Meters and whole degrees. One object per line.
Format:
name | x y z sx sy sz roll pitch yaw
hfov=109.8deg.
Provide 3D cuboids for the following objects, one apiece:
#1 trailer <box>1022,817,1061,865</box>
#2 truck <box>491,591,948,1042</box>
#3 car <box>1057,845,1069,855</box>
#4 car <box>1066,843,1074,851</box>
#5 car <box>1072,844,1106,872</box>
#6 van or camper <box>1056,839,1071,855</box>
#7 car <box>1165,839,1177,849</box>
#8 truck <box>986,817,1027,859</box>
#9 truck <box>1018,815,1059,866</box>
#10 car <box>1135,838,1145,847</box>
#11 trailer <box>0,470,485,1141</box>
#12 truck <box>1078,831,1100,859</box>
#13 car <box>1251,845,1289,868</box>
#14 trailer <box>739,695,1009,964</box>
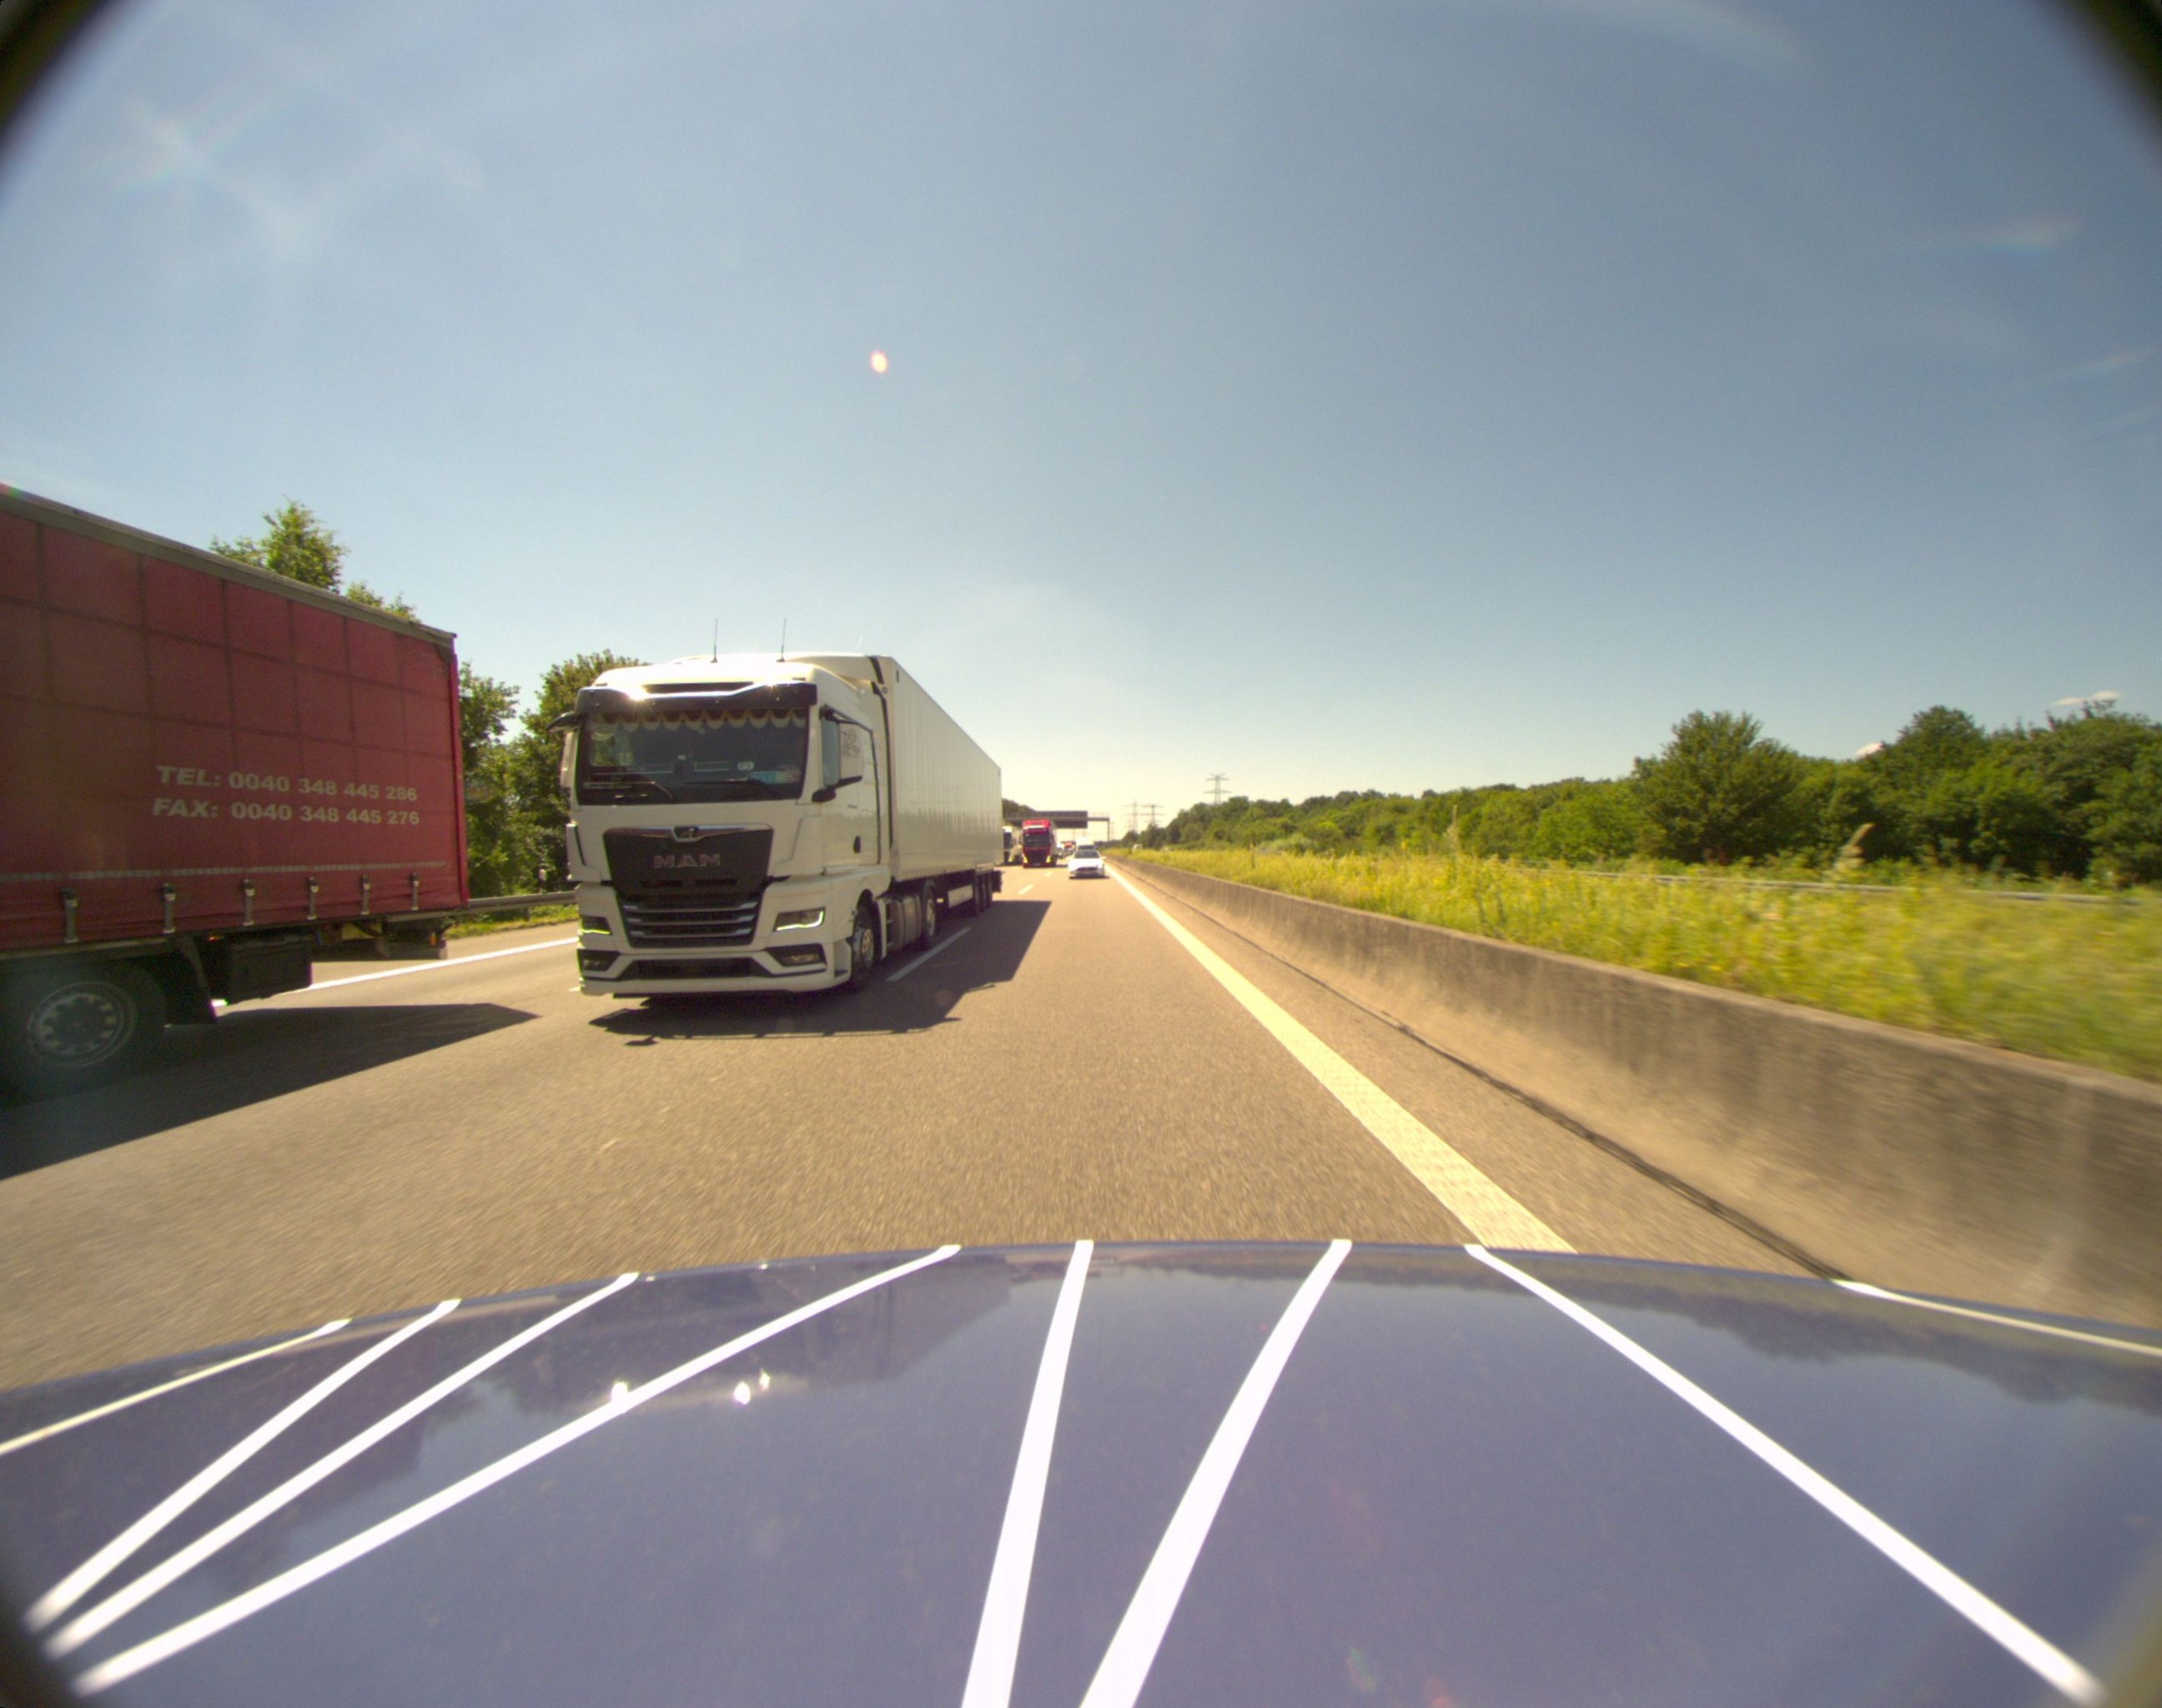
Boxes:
trailer | -3.576 -1.241 72.397 2.945 3.995 16.195 -2 1 -1
truck | -3.767 -0.359 9.832 2.806 3.984 6.020 -1 1 1
car | -2.861 -0.633 119.885 1.788 1.521 4.104 -1 1 -1
car | -2.585 -1.598 176.930 1.904 1.662 3.999 -1 1 -1
car | 0.423 0.188 43.250 1.788 1.462 3.999 -1 1 -1
van or camper | -2.830 -1.153 125.162 2.411 2.483 6.430 -1 1 -1
car | 18.489 -2.067 156.540 1.886 2.002 5.074 -1 1 0
truck | -7.687 -1.691 80.222 3.033 4.069 10.975 -2 1 0
truck | -3.457 -1.088 63.315 2.948 3.963 6.099 -2 1 -1
car | 14.762 -2.935 190.545 1.998 2.002 6.555 -3 1 0
trailer | -7.960 -0.255 3.146 2.322 4.217 10.652 -1 1 1
truck | 0.807 -0.950 80.515 2.192 2.842 5.502 -2 1 -1
car | 14.500 0.193 58.453 1.828 1.644 4.170 1 1 1
trailer | -3.715 -0.447 17.789 2.802 4.012 12.565 -1 1 0
